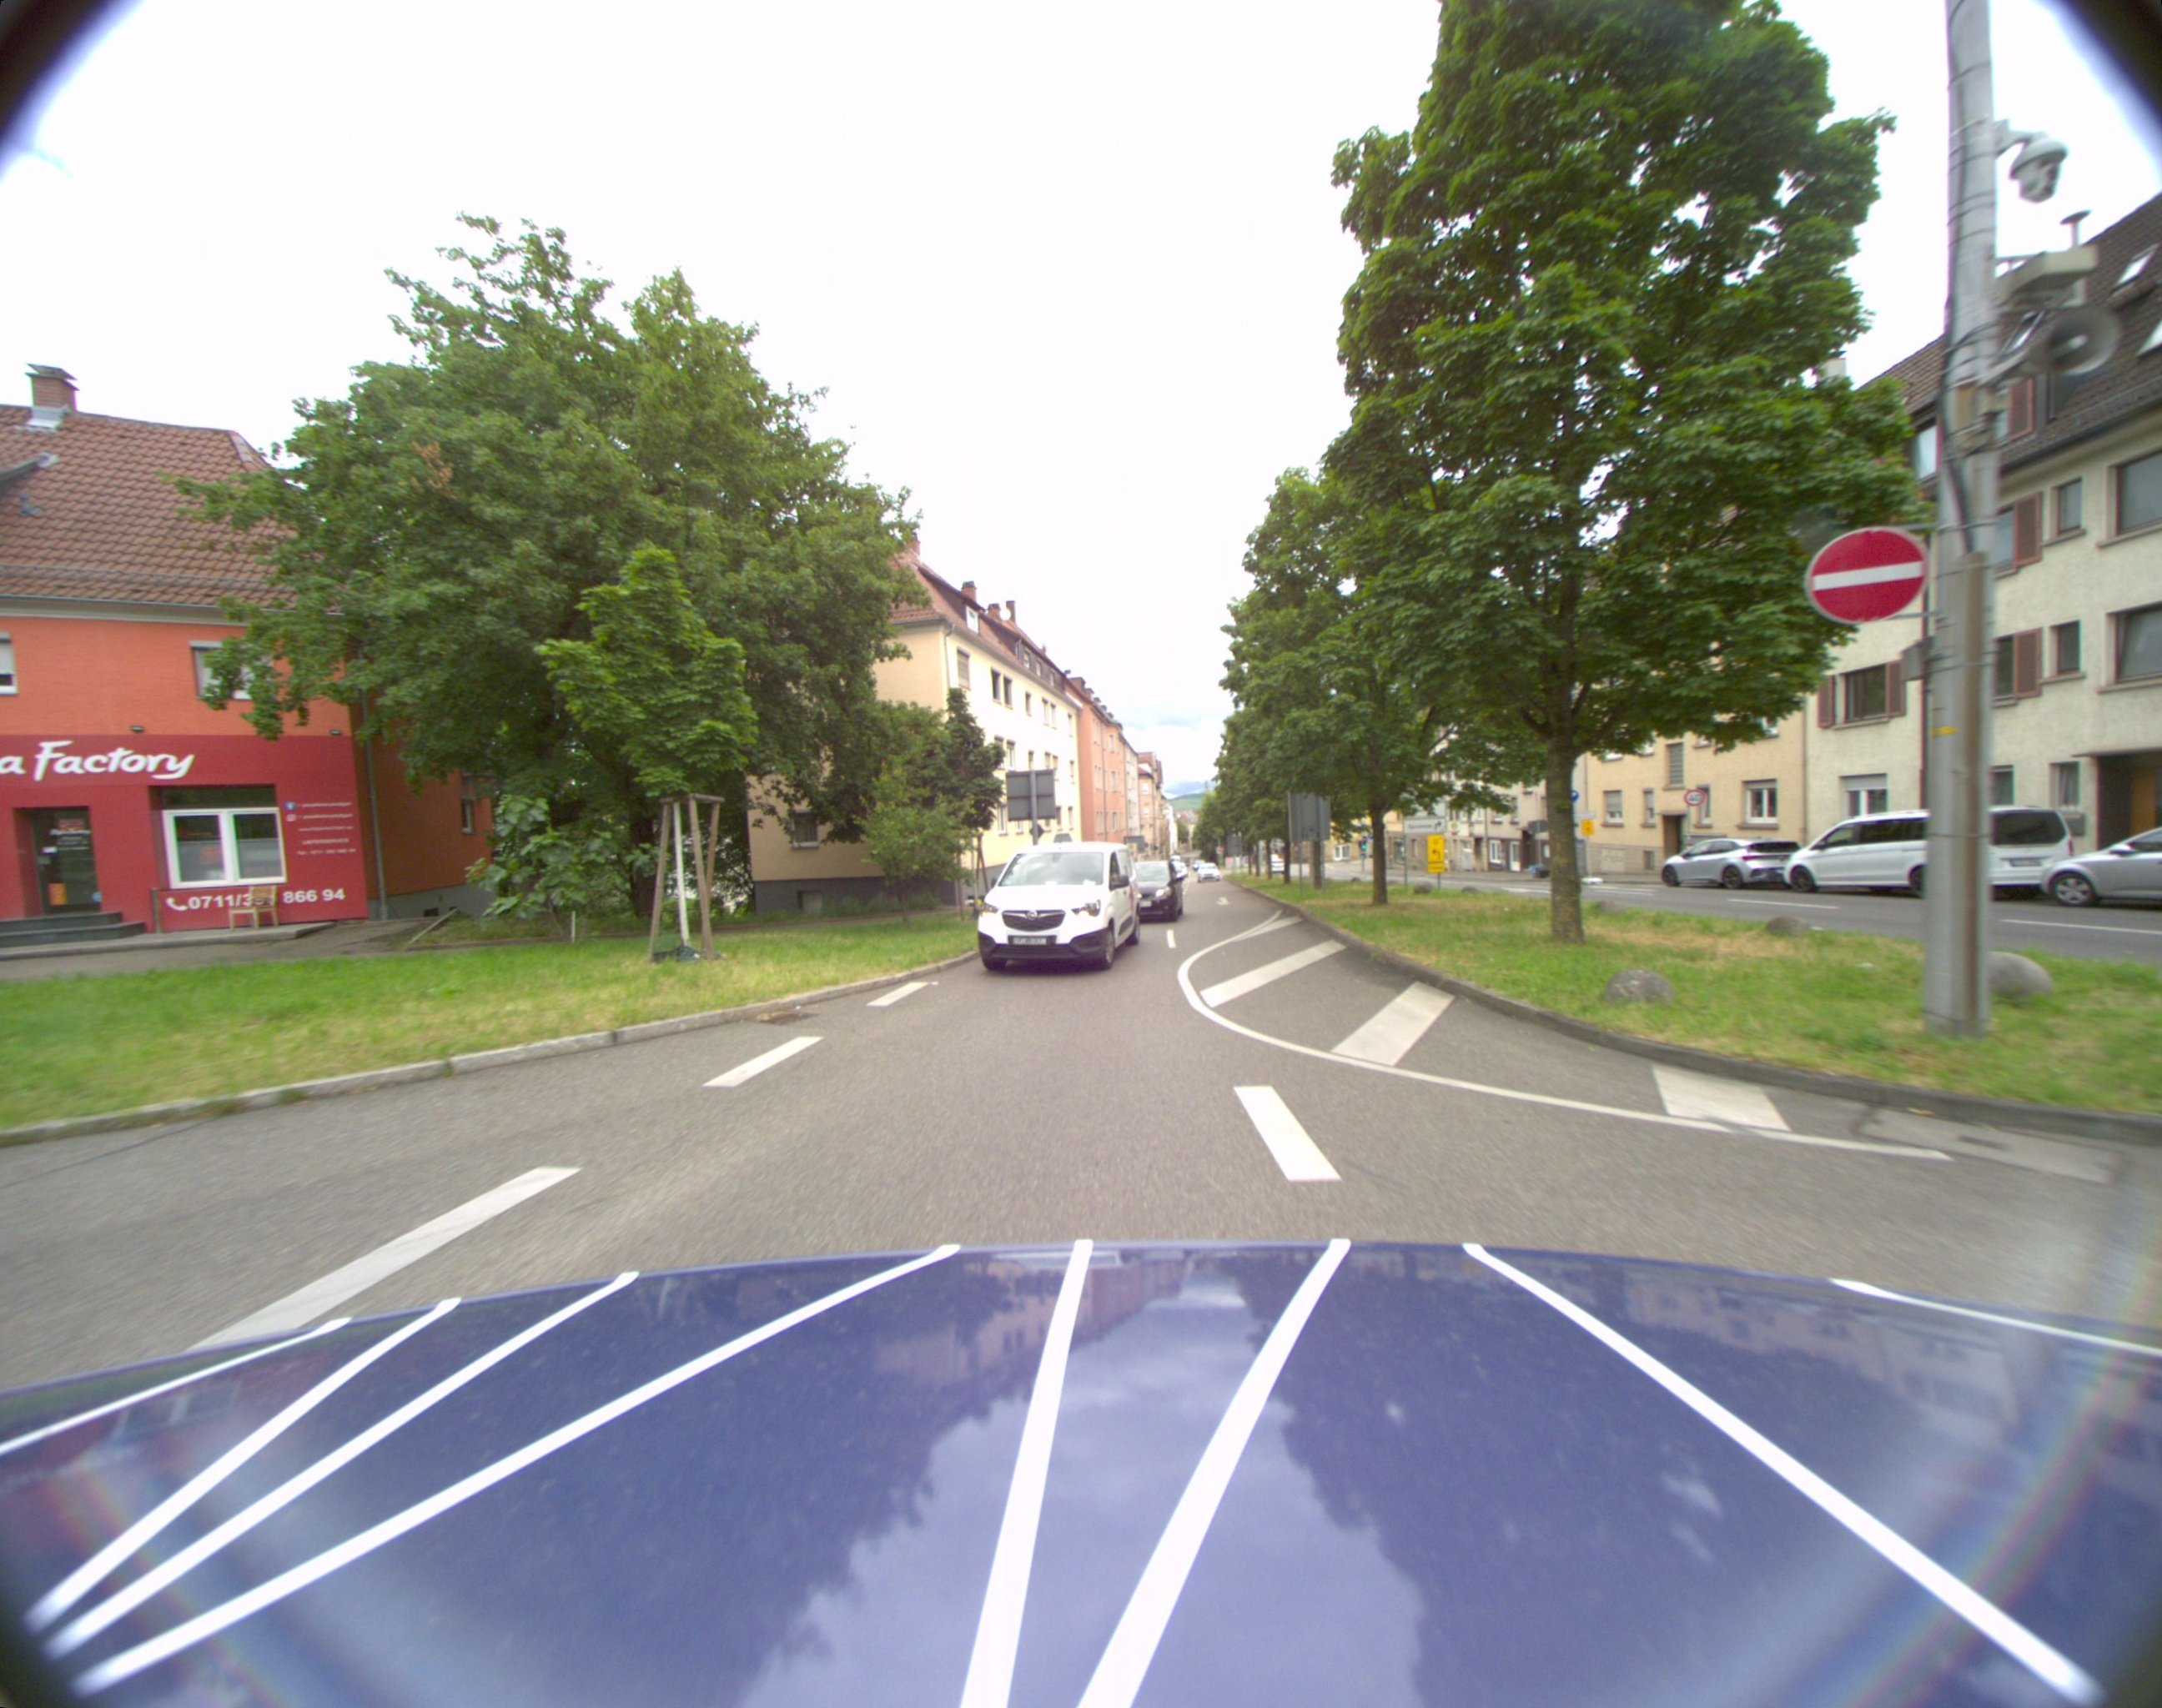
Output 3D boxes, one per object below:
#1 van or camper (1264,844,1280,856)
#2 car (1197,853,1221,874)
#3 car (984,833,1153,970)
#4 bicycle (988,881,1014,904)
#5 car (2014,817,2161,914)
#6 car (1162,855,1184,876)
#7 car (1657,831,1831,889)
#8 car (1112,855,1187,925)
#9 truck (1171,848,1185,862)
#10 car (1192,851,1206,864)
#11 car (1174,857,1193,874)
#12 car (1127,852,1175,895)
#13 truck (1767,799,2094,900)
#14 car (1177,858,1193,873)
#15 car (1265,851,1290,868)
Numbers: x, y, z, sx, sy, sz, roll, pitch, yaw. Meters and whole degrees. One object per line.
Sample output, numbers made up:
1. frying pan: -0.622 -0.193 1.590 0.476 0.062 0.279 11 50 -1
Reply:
1. van or camper: 30.625 -0.634 122.036 1.911 1.751 4.658 -3 -1 9
2. car: 10.280 0.762 61.227 1.783 1.583 3.534 0 1 7
3. car: 0.029 0.663 12.875 1.787 1.778 4.848 -4 -1 11
4. bicycle: -3.031 1.463 28.945 0.489 0.768 1.559 -2 0 12
5. car: 18.183 0.153 11.915 1.997 1.543 4.385 -2 0 8
6. car: 7.526 0.899 62.285 1.783 1.583 3.534 0 1 7
7. car: 19.973 0.172 23.160 1.997 1.543 4.160 -2 0 8
8. car: 1.801 0.836 19.193 1.603 1.448 3.686 -4 0 8
9. truck: 20.949 0.126 164.448 2.551 2.891 7.783 -2 0 10
10. car: 15.797 0.432 101.737 1.783 1.583 3.534 0 1 7
11. car: 10.215 1.151 75.889 1.783 1.583 3.534 0 1 7
12. car: 3.112 0.833 33.183 1.779 1.598 4.166 -5 -1 8
13. truck: 19.039 -0.081 17.555 1.997 1.908 5.350 -2 0 8
14. car: 12.209 1.346 89.490 1.783 1.583 3.534 0 1 7
15. car: 18.602 0.496 71.979 1.749 1.458 4.589 -3 -1 8
